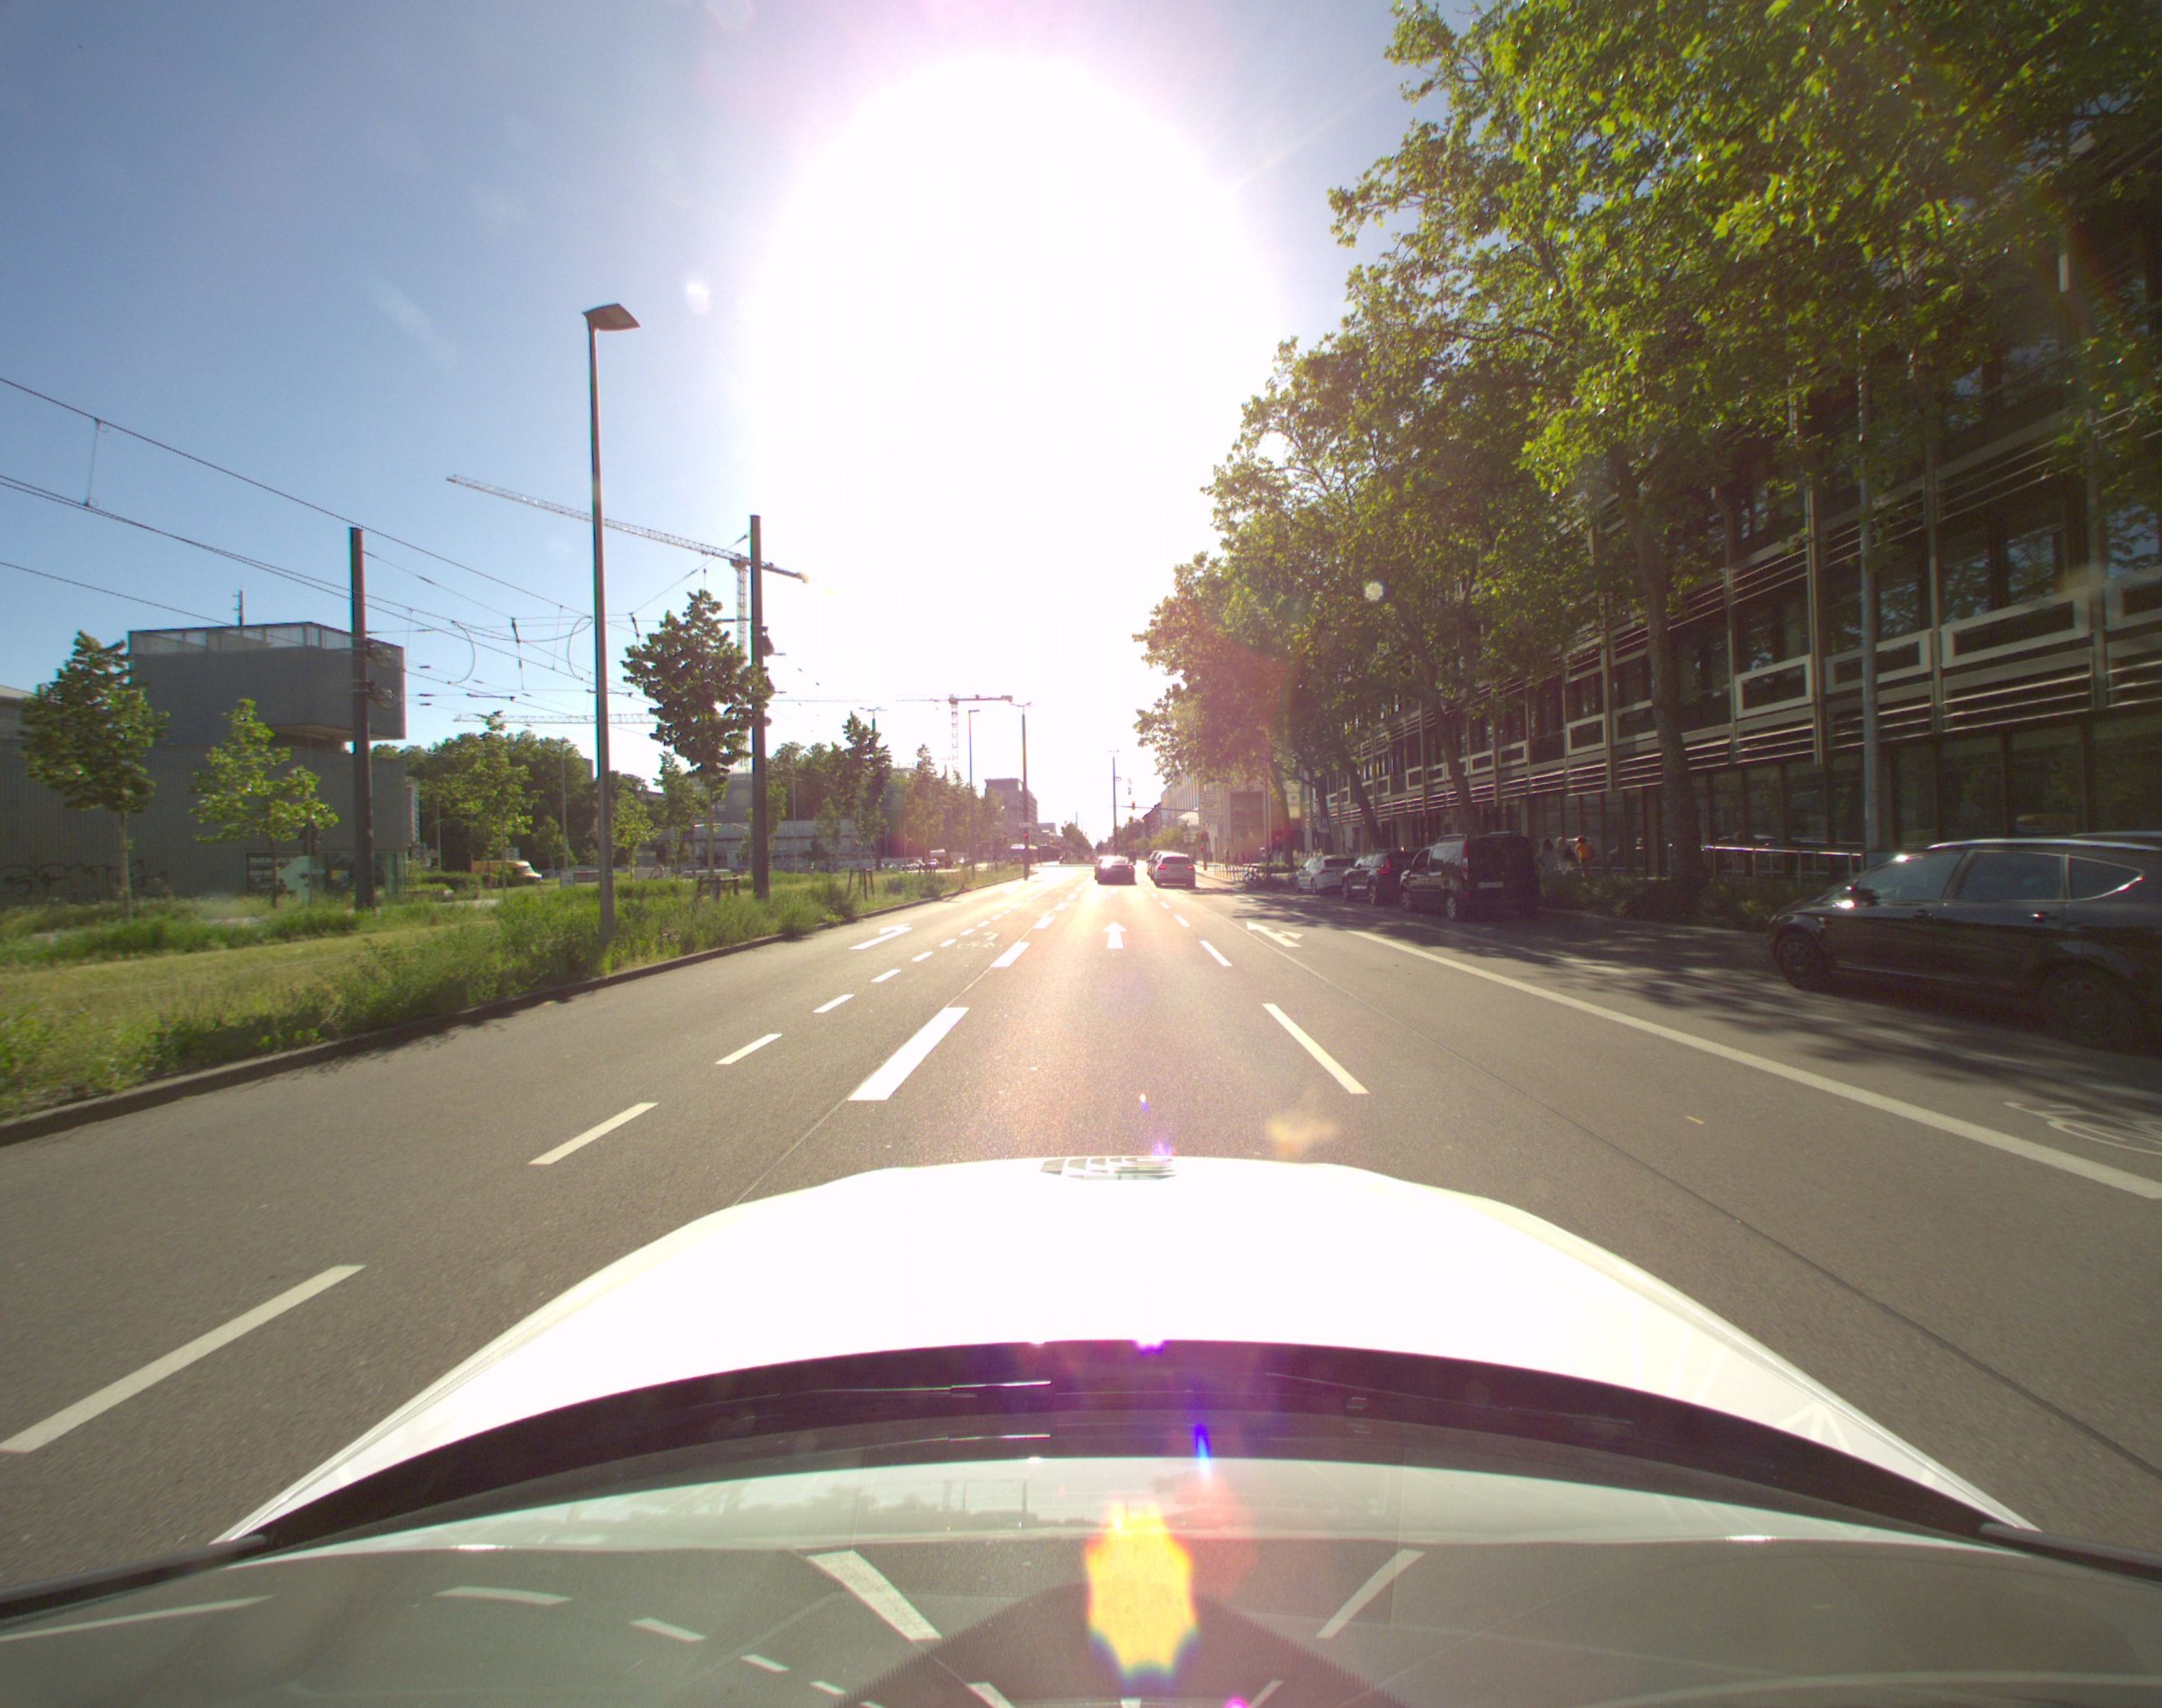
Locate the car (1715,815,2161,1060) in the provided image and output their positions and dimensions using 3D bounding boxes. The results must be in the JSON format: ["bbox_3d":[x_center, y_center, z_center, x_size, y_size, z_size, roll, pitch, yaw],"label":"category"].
[{"bbox_3d":[8.369,0.537,7.470,1.696,1.643,4.641,-3,0,4],"label":"car"}]

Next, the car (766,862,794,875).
[{"bbox_3d":[-36.780,1.740,99.604,1.704,1.556,4.002,1,-1,2],"label":"car"}]

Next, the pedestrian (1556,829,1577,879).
[{"bbox_3d":[15.412,0.001,25.853,0.314,1.584,0.500,-1,0,-6],"label":"pedestrian"}]

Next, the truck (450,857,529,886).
[{"bbox_3d":[-63.293,1.854,87.168,6.939,2.963,2.000,1,-1,1],"label":"truck"}]

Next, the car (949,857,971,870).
[{"bbox_3d":[-11.124,0.854,75.086,1.371,1.178,3.221,1,-1,2],"label":"car"}]

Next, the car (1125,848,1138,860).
[{"bbox_3d":[8.447,0.041,136.432,1.986,2.014,4.002,1,-1,2],"label":"car"}]

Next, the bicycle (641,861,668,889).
[{"bbox_3d":[-23.313,1.130,44.525,0.359,1.455,1.915,-1,0,3],"label":"bicycle"}]

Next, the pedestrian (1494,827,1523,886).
[{"bbox_3d":[14.174,0.087,27.011,0.674,1.916,0.557,1,-1,2],"label":"pedestrian"}]

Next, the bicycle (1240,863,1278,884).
[{"bbox_3d":[8.639,0.937,39.555,1.689,0.957,0.478,-3,0,-3],"label":"bicycle"}]

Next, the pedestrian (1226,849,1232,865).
[{"bbox_3d":[13.225,0.265,72.757,0.559,1.440,0.633,0,-1,9],"label":"pedestrian"}]

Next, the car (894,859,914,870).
[{"bbox_3d":[-25.072,1.507,115.587,1.830,1.612,3.897,1,-1,2],"label":"car"}]

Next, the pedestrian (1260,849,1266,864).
[{"bbox_3d":[17.050,0.253,76.345,0.559,1.440,0.633,0,-1,9],"label":"pedestrian"}]

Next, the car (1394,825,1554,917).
[{"bbox_3d":[8.782,0.336,18.617,1.697,1.790,4.195,-3,0,2],"label":"car"}]

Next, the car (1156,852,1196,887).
[{"bbox_3d":[4.632,0.717,40.209,1.714,1.618,4.190,-1,0,4],"label":"car"}]

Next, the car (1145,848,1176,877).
[{"bbox_3d":[5.191,0.524,53.627,1.715,1.782,4.186,-1,0,1],"label":"car"}]

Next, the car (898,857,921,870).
[{"bbox_3d":[-15.923,0.906,75.679,1.371,1.178,3.221,1,-1,2],"label":"car"}]

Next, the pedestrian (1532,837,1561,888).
[{"bbox_3d":[14.808,0.256,25.891,0.505,1.584,0.634,-1,0,-7],"label":"pedestrian"}]

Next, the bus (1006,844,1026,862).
[{"bbox_3d":[-10.676,-0.087,135.268,2.619,2.783,8.841,1,-1,0],"label":"bus"}]

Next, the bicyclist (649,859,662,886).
[{"bbox_3d":[-23.308,1.011,44.603,0.393,1.454,0.540,1,0,1],"label":"bicyclist"}]

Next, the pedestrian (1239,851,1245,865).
[{"bbox_3d":[16.661,0.464,84.353,0.559,1.440,0.633,0,-1,9],"label":"pedestrian"}]

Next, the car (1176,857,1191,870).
[{"bbox_3d":[13.834,1.253,109.907,1.656,1.649,3.700,1,-1,0],"label":"car"}]

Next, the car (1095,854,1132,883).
[{"bbox_3d":[1.729,0.744,43.869,1.905,1.486,4.011,-1,0,1],"label":"car"}]

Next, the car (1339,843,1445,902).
[{"bbox_3d":[9.131,0.516,24.267,1.697,1.563,4.194,-1,0,2],"label":"car"}]

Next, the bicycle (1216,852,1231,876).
[{"bbox_3d":[9.171,0.647,52.411,0.560,1.440,2.577,1,-1,1],"label":"bicycle"}]

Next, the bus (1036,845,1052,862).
[{"bbox_3d":[-6.812,-0.080,152.190,2.619,2.959,9.895,1,-1,0],"label":"bus"}]

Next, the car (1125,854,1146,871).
[{"bbox_3d":[4.858,0.708,73.011,1.714,1.431,4.189,-1,0,3],"label":"car"}]

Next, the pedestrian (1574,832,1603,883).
[{"bbox_3d":[16.075,0.114,25.789,0.551,1.603,0.573,-1,0,2],"label":"pedestrian"}]

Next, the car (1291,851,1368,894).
[{"bbox_3d":[9.344,0.650,30.966,1.697,1.492,4.603,-1,0,2],"label":"car"}]

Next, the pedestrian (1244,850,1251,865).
[{"bbox_3d":[15.470,0.332,75.746,0.559,1.440,0.633,0,-1,9],"label":"pedestrian"}]
